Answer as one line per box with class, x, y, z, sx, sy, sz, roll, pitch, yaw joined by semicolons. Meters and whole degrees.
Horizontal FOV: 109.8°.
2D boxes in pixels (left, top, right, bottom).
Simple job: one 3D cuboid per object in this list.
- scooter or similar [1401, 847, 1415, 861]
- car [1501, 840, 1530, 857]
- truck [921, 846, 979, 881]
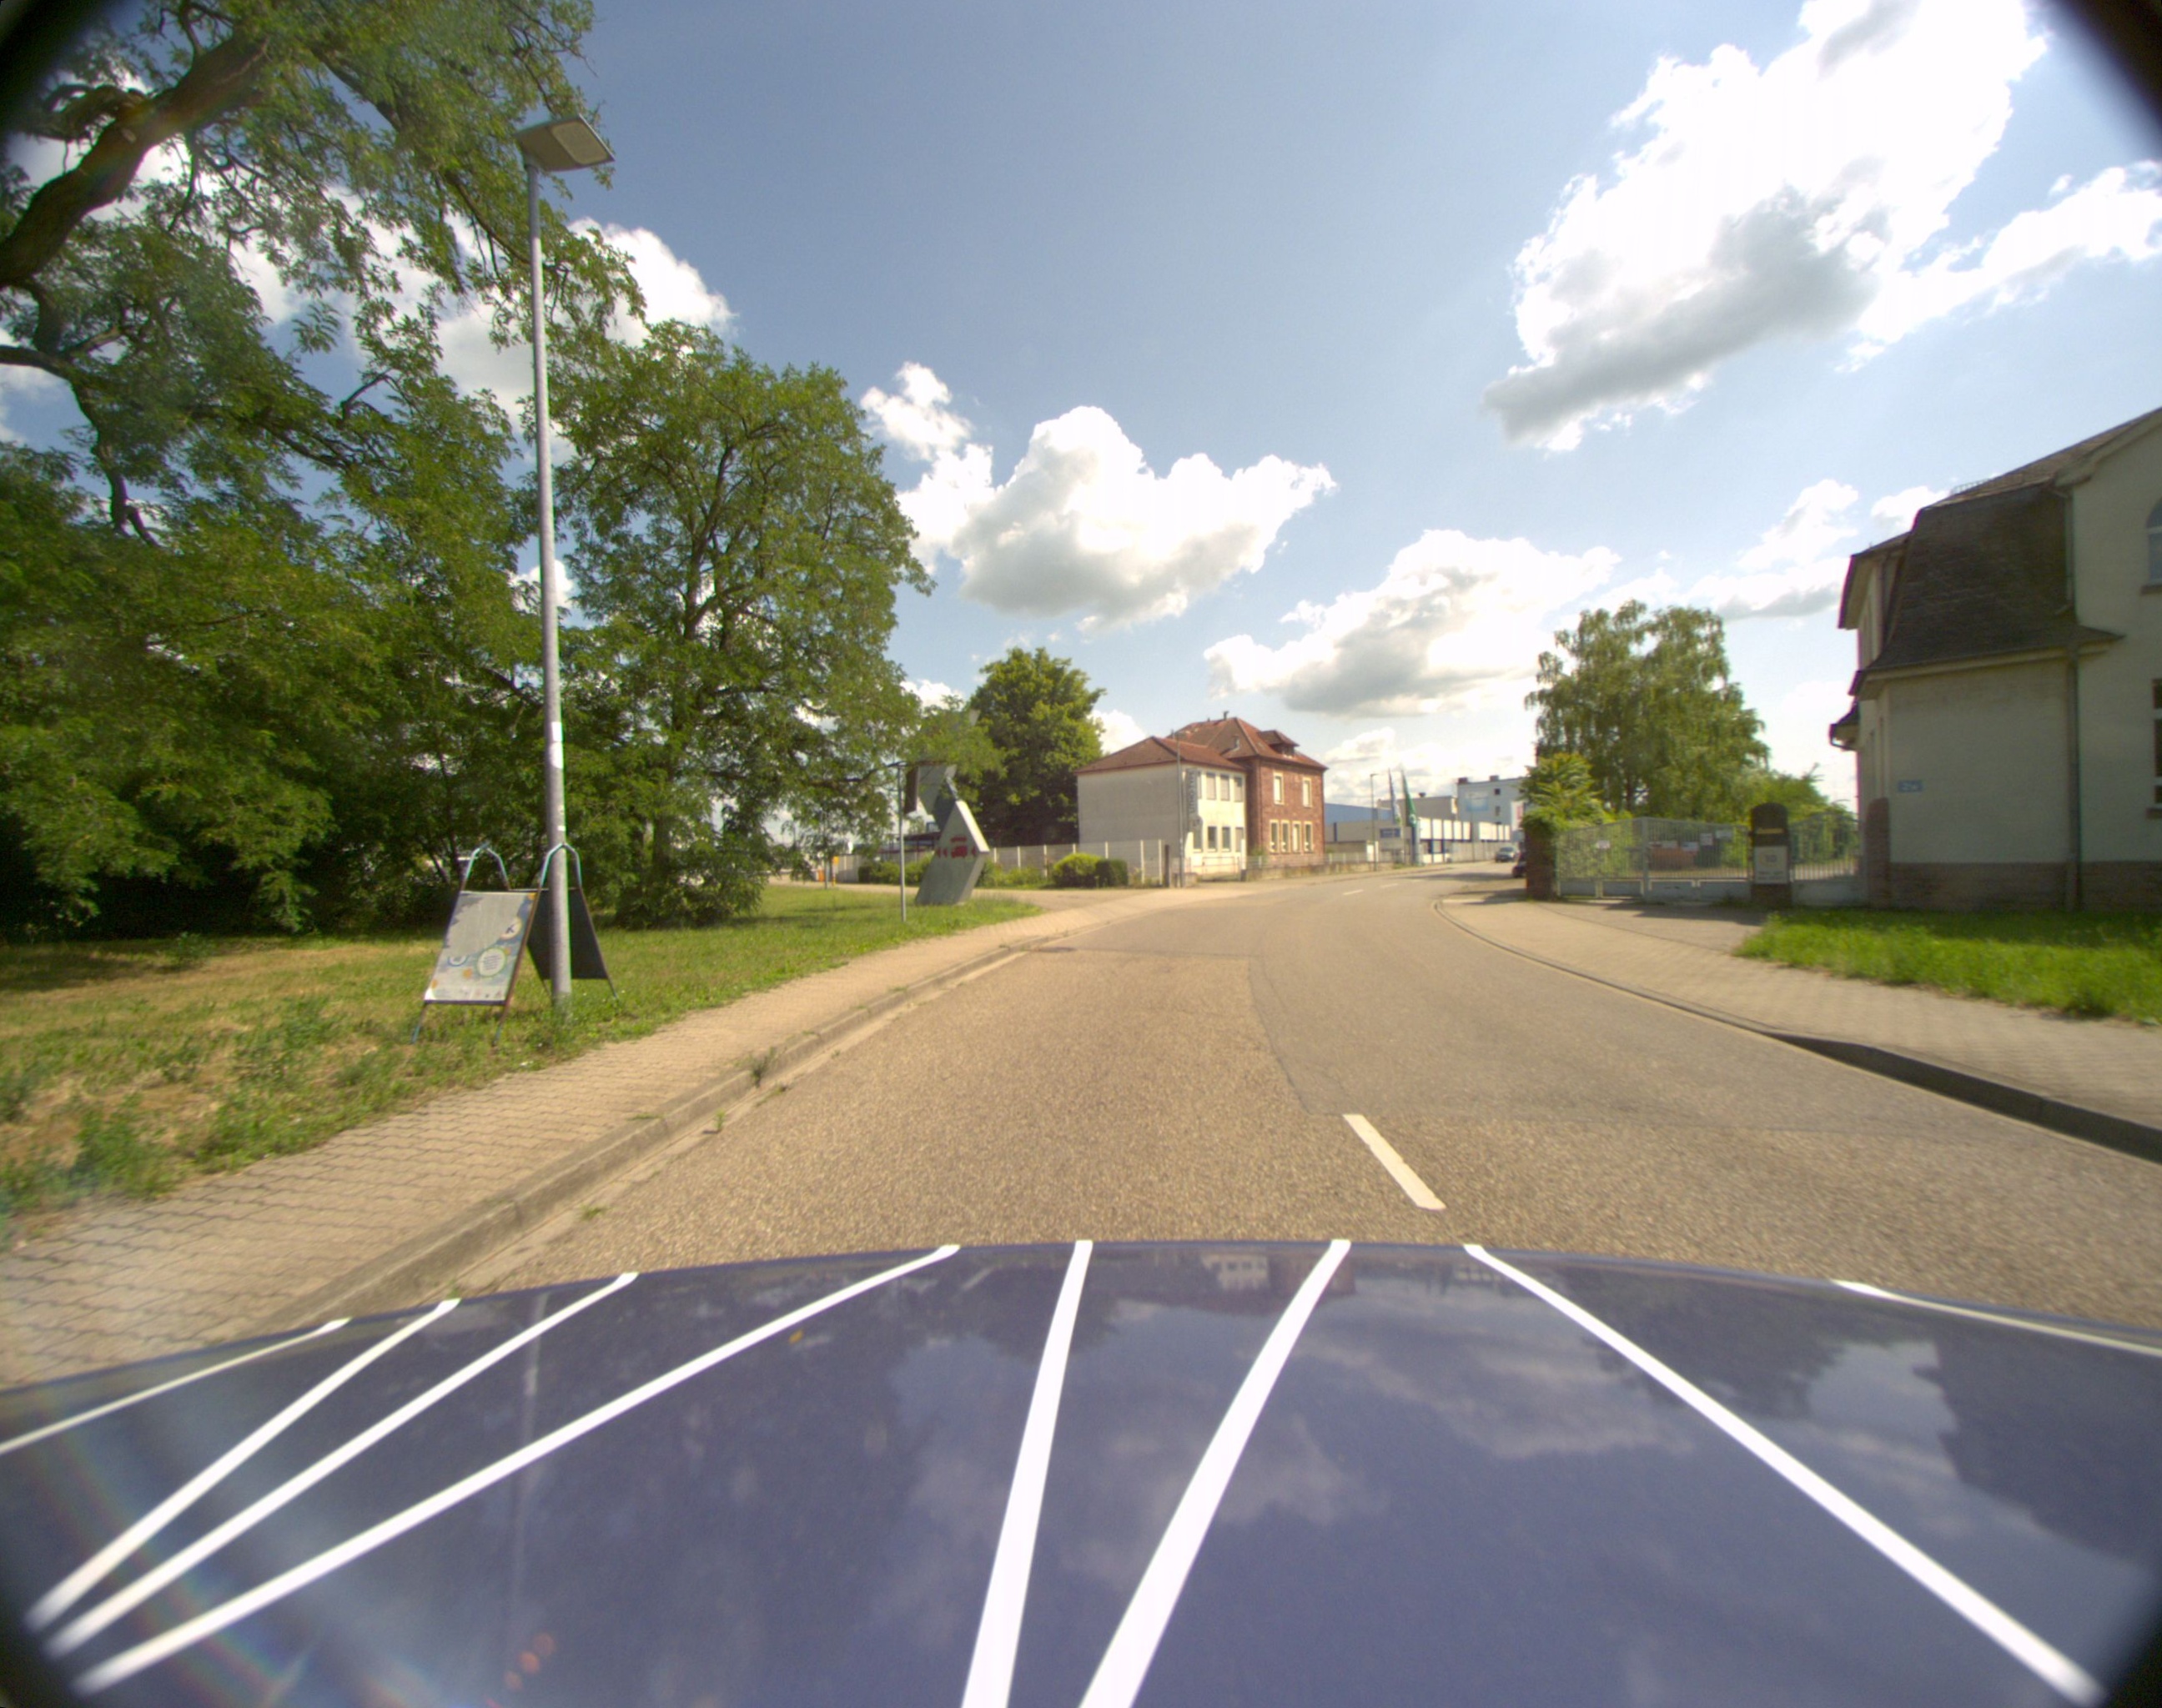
scooter or similar;28.349;-0.013;65.810;0.259;1.238;1.147;-3;1;-32
car;45.174;-0.546;79.009;1.826;1.655;4.565;-1;1;40
truck;-9.465;0.668;54.739;2.004;2.410;4.731;-1;0;-40
